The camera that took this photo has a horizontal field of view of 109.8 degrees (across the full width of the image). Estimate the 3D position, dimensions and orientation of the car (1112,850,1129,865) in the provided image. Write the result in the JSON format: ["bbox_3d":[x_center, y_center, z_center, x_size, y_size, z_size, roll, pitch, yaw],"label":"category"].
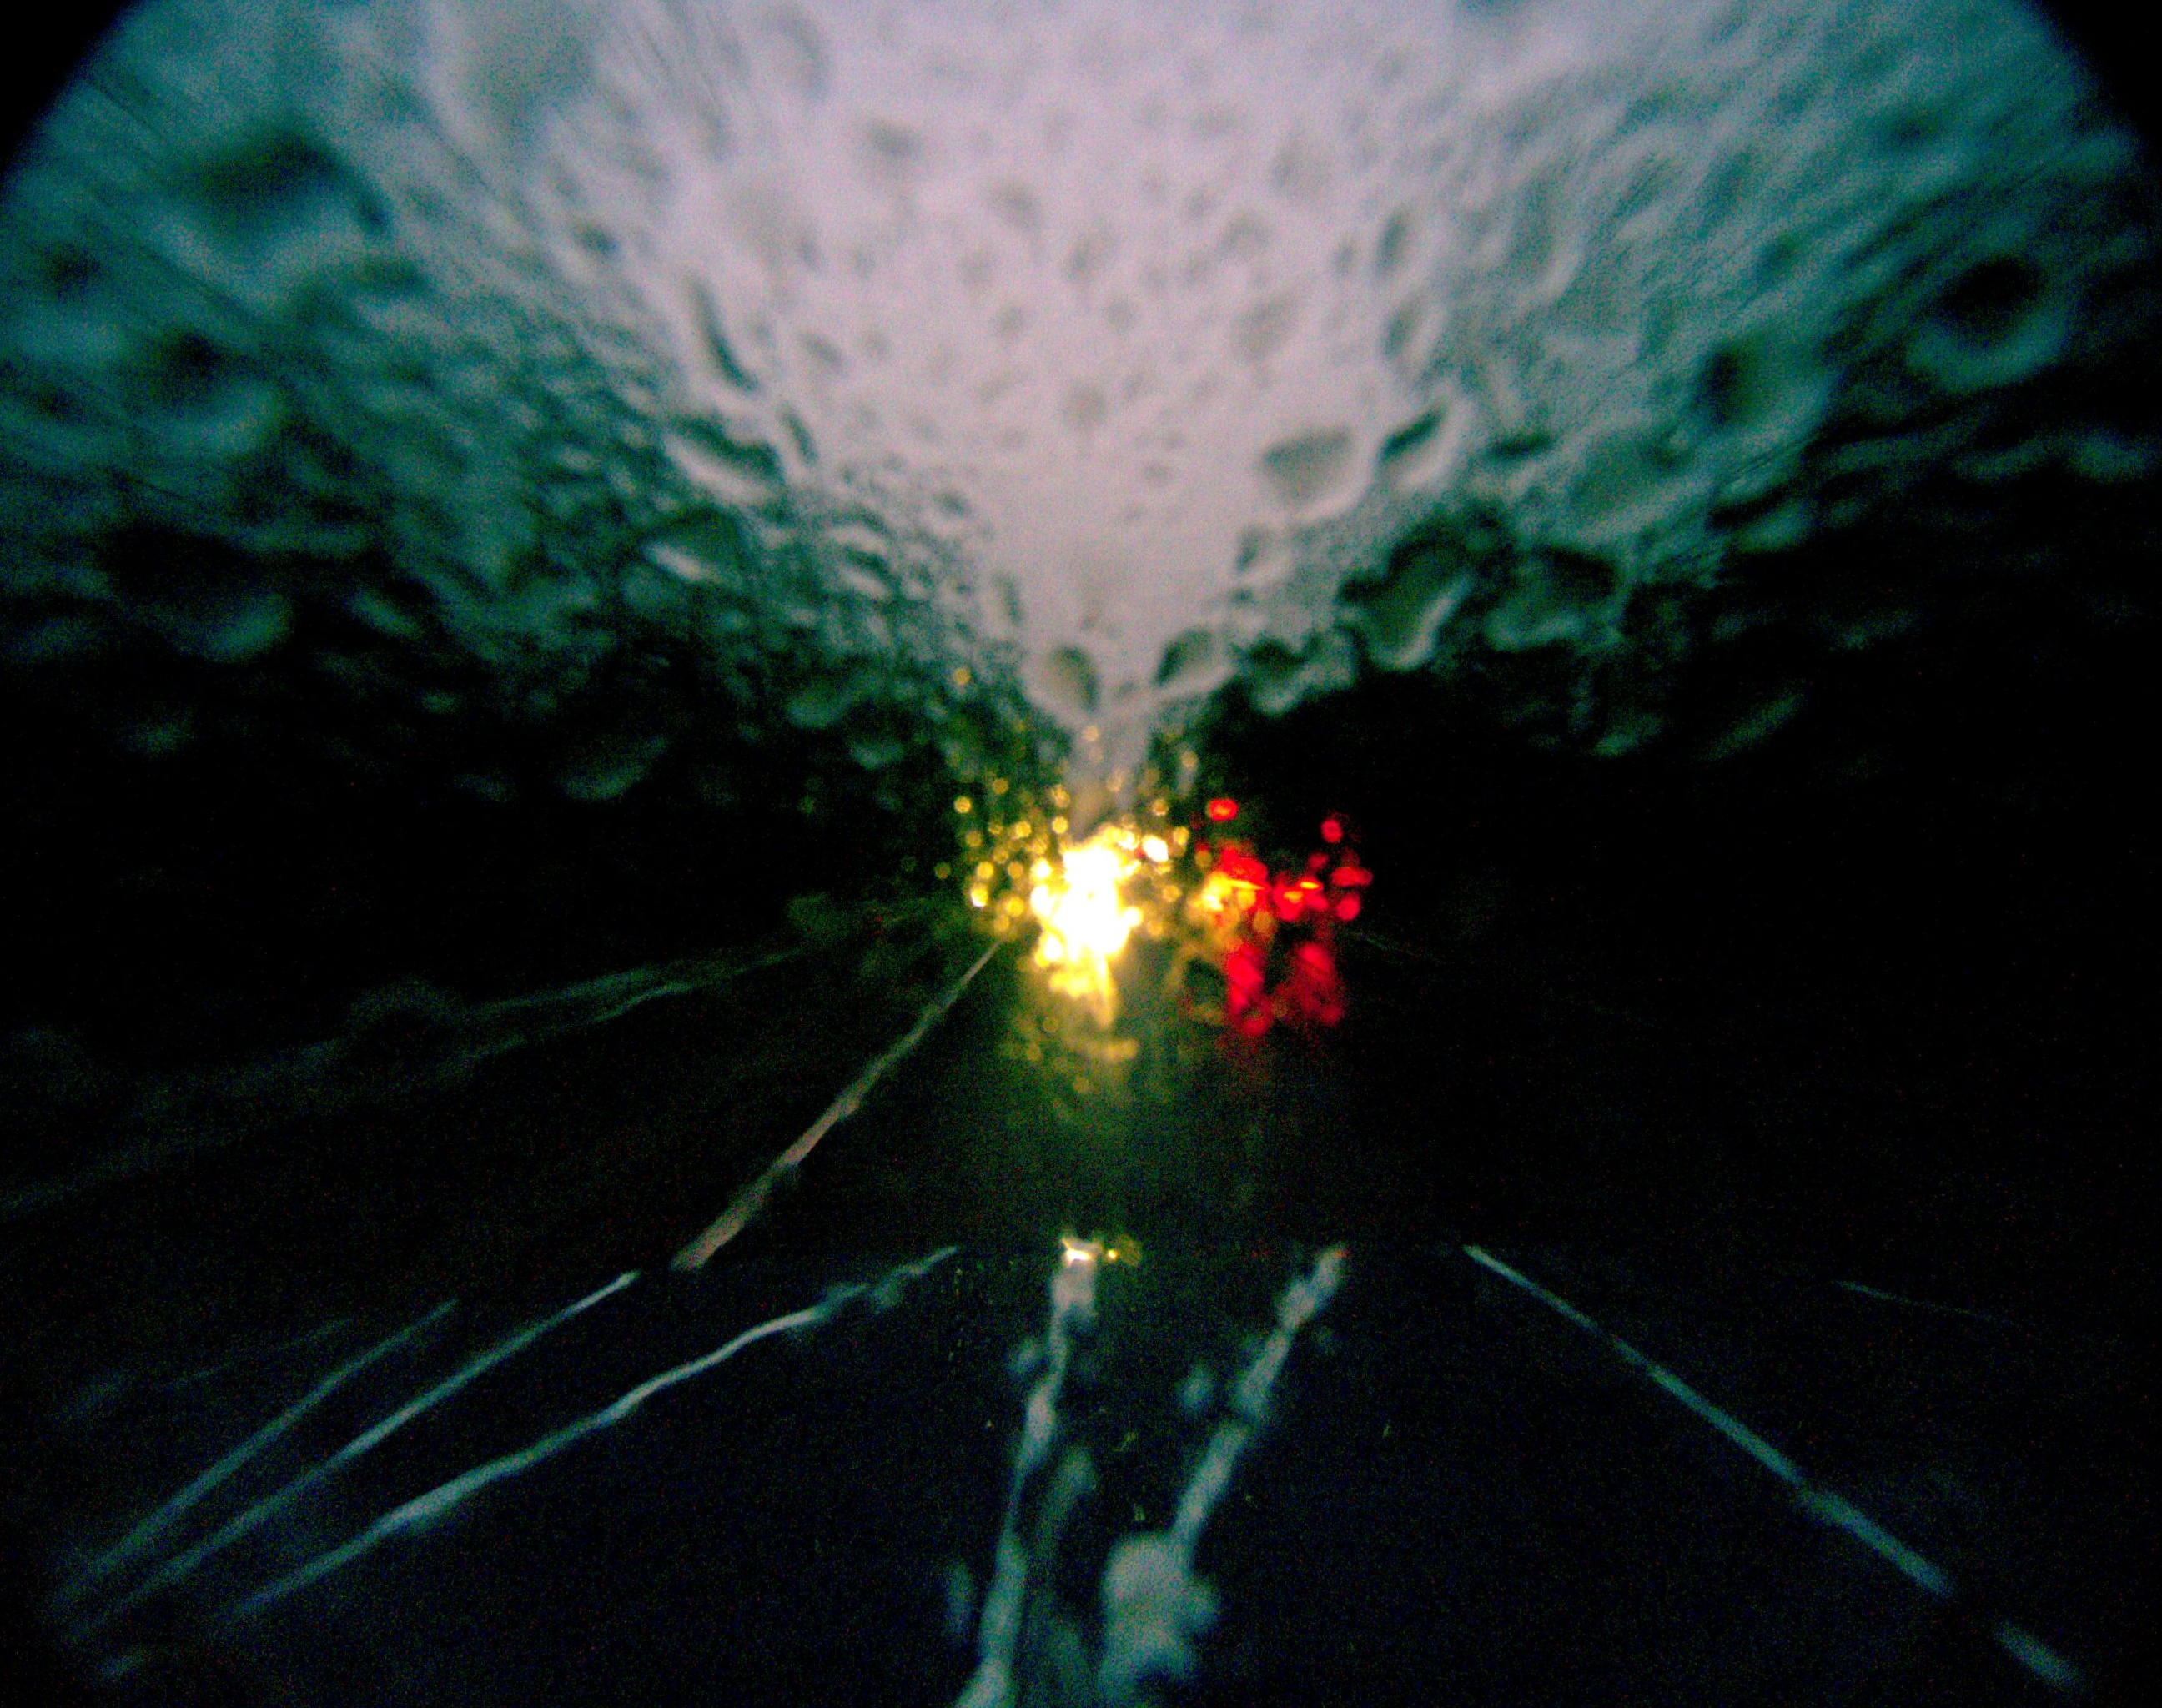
[{"bbox_3d":[4.621,0.444,89.384,1.826,1.639,4.750,1,0,1],"label":"car"}]

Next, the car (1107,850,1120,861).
[{"bbox_3d":[4.733,0.207,111.481,1.804,1.591,3.861,1,1,1],"label":"car"}]

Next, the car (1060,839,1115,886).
[{"bbox_3d":[0.395,0.371,39.674,2.542,2.213,6.169,-2,1,2],"label":"car"}]

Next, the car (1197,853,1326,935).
[{"bbox_3d":[3.858,0.778,17.163,1.979,1.559,4.928,0,0,3],"label":"car"}]
